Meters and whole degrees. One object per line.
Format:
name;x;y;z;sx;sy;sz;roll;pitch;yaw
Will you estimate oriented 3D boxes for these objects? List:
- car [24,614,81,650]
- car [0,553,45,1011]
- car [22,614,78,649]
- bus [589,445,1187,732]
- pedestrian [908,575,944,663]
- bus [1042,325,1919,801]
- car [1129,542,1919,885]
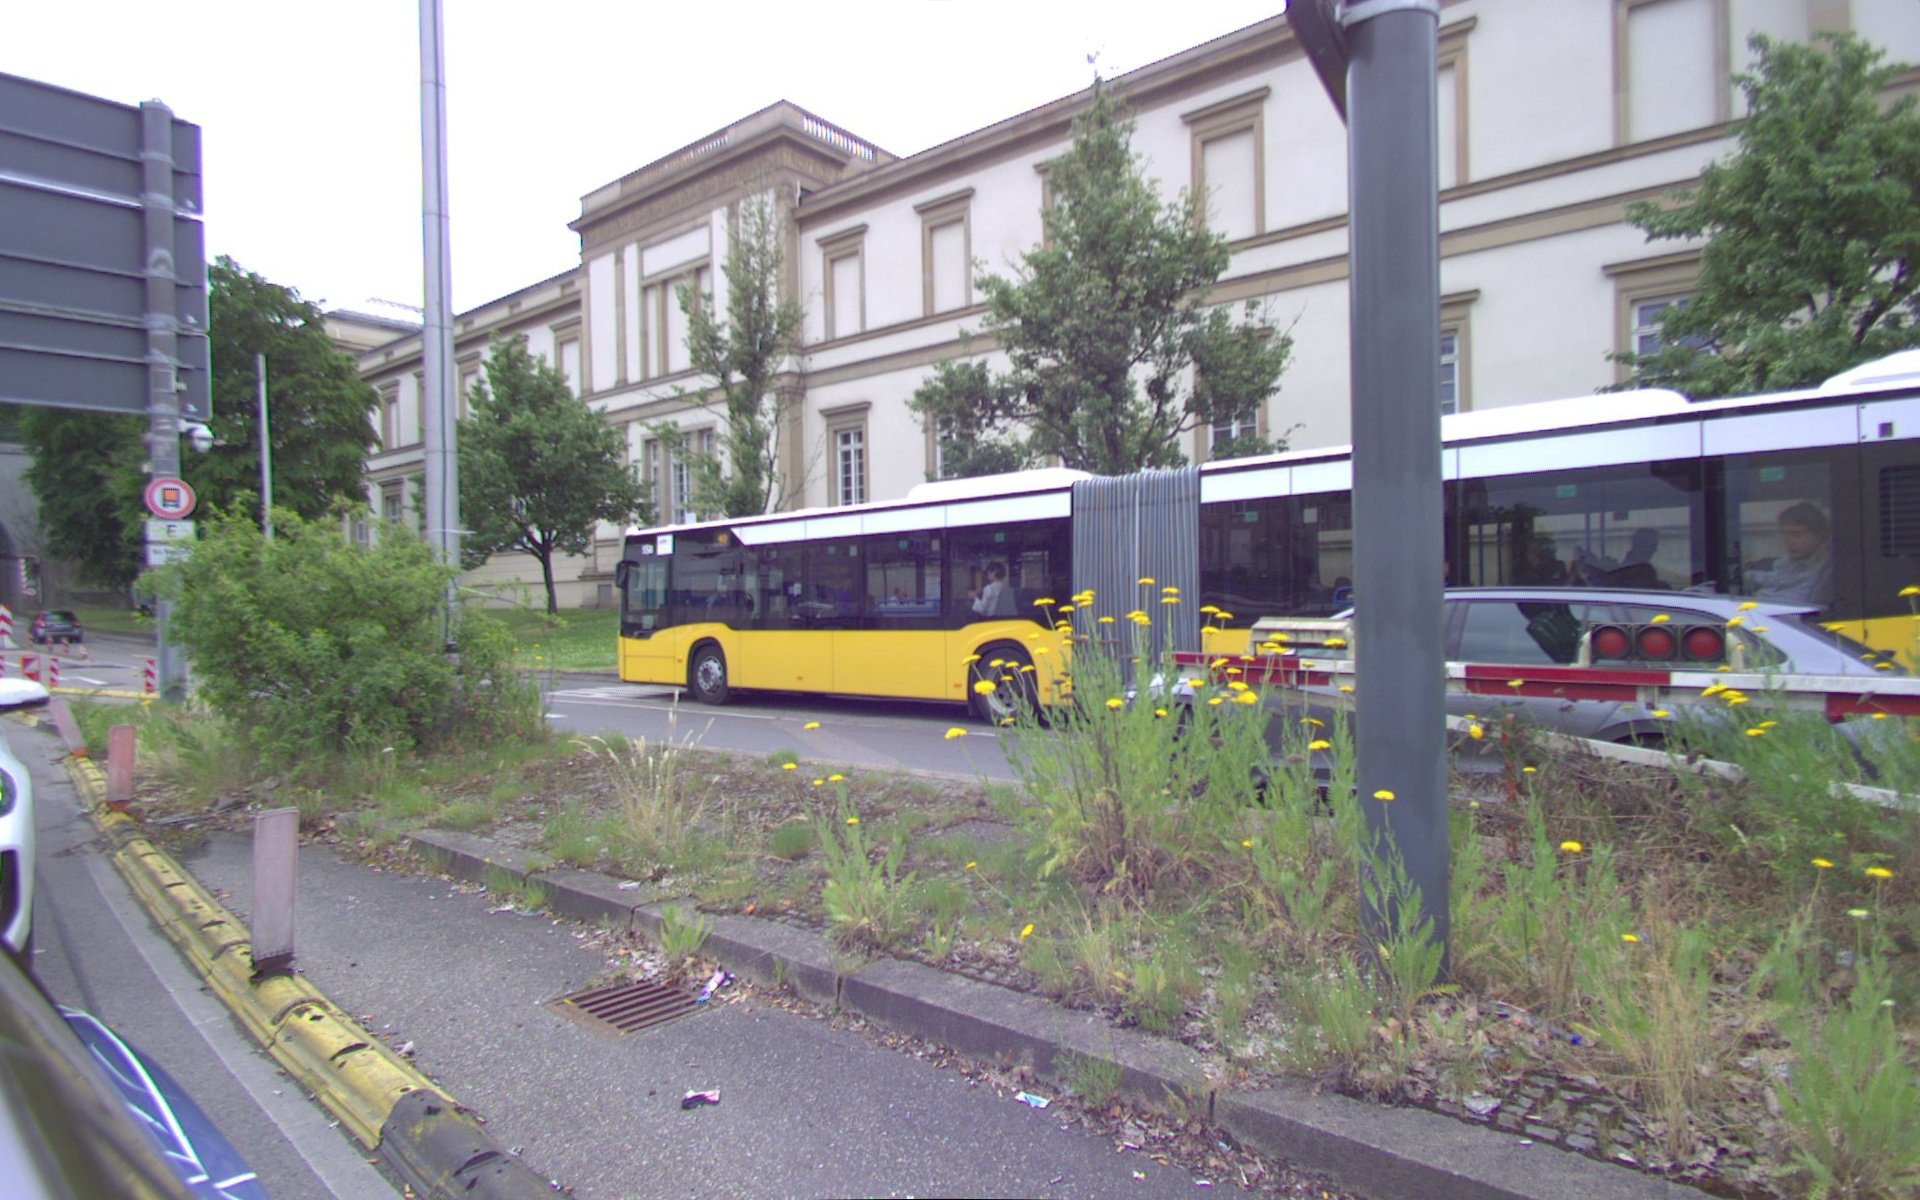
car;-43.229;1.512;48.174;3.881;1.603;1.645;-2;-1;42
car;-5.337;0.693;4.258;3.881;1.603;1.824;-2;0;42
car;-42.967;1.484;47.788;2.820;1.563;1.520;-1;-1;38
bus;-1.686;-0.052;15.292;9.740;3.137;2.817;-1;0;40
pedestrian;-0.672;0.371;20.049;0.578;1.708;0.460;-1;0;-15
bus;5.308;-0.216;9.414;9.115;3.137;2.817;-1;0;41
car;3.358;0.555;6.290;4.282;1.525;1.690;-1;-2;38
